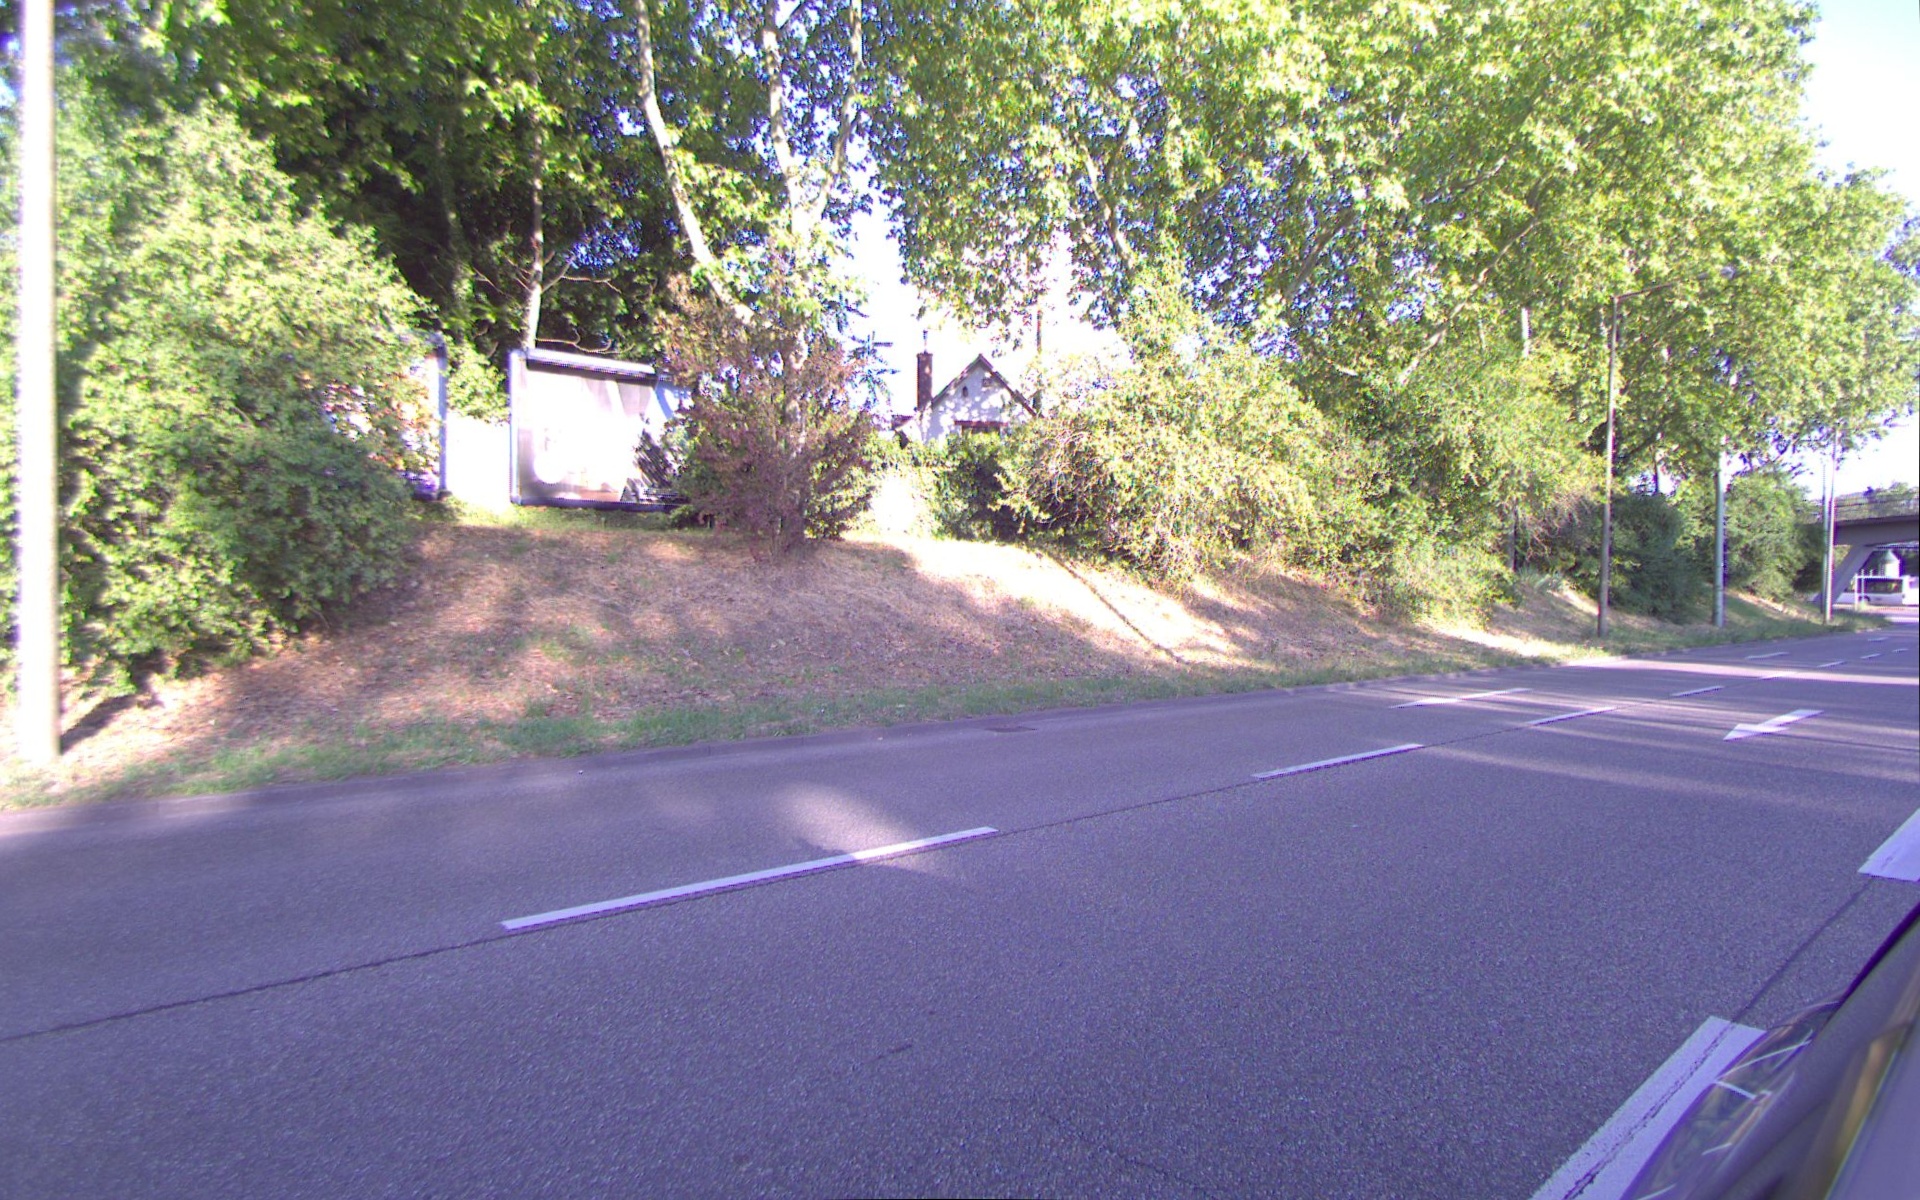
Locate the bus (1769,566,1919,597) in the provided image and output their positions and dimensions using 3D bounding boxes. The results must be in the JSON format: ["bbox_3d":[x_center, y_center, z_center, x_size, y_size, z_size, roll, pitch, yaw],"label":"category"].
[{"bbox_3d":[88.739,-1.818,101.015,2.366,2.899,13.221,0,0,-19],"label":"bus"}]
